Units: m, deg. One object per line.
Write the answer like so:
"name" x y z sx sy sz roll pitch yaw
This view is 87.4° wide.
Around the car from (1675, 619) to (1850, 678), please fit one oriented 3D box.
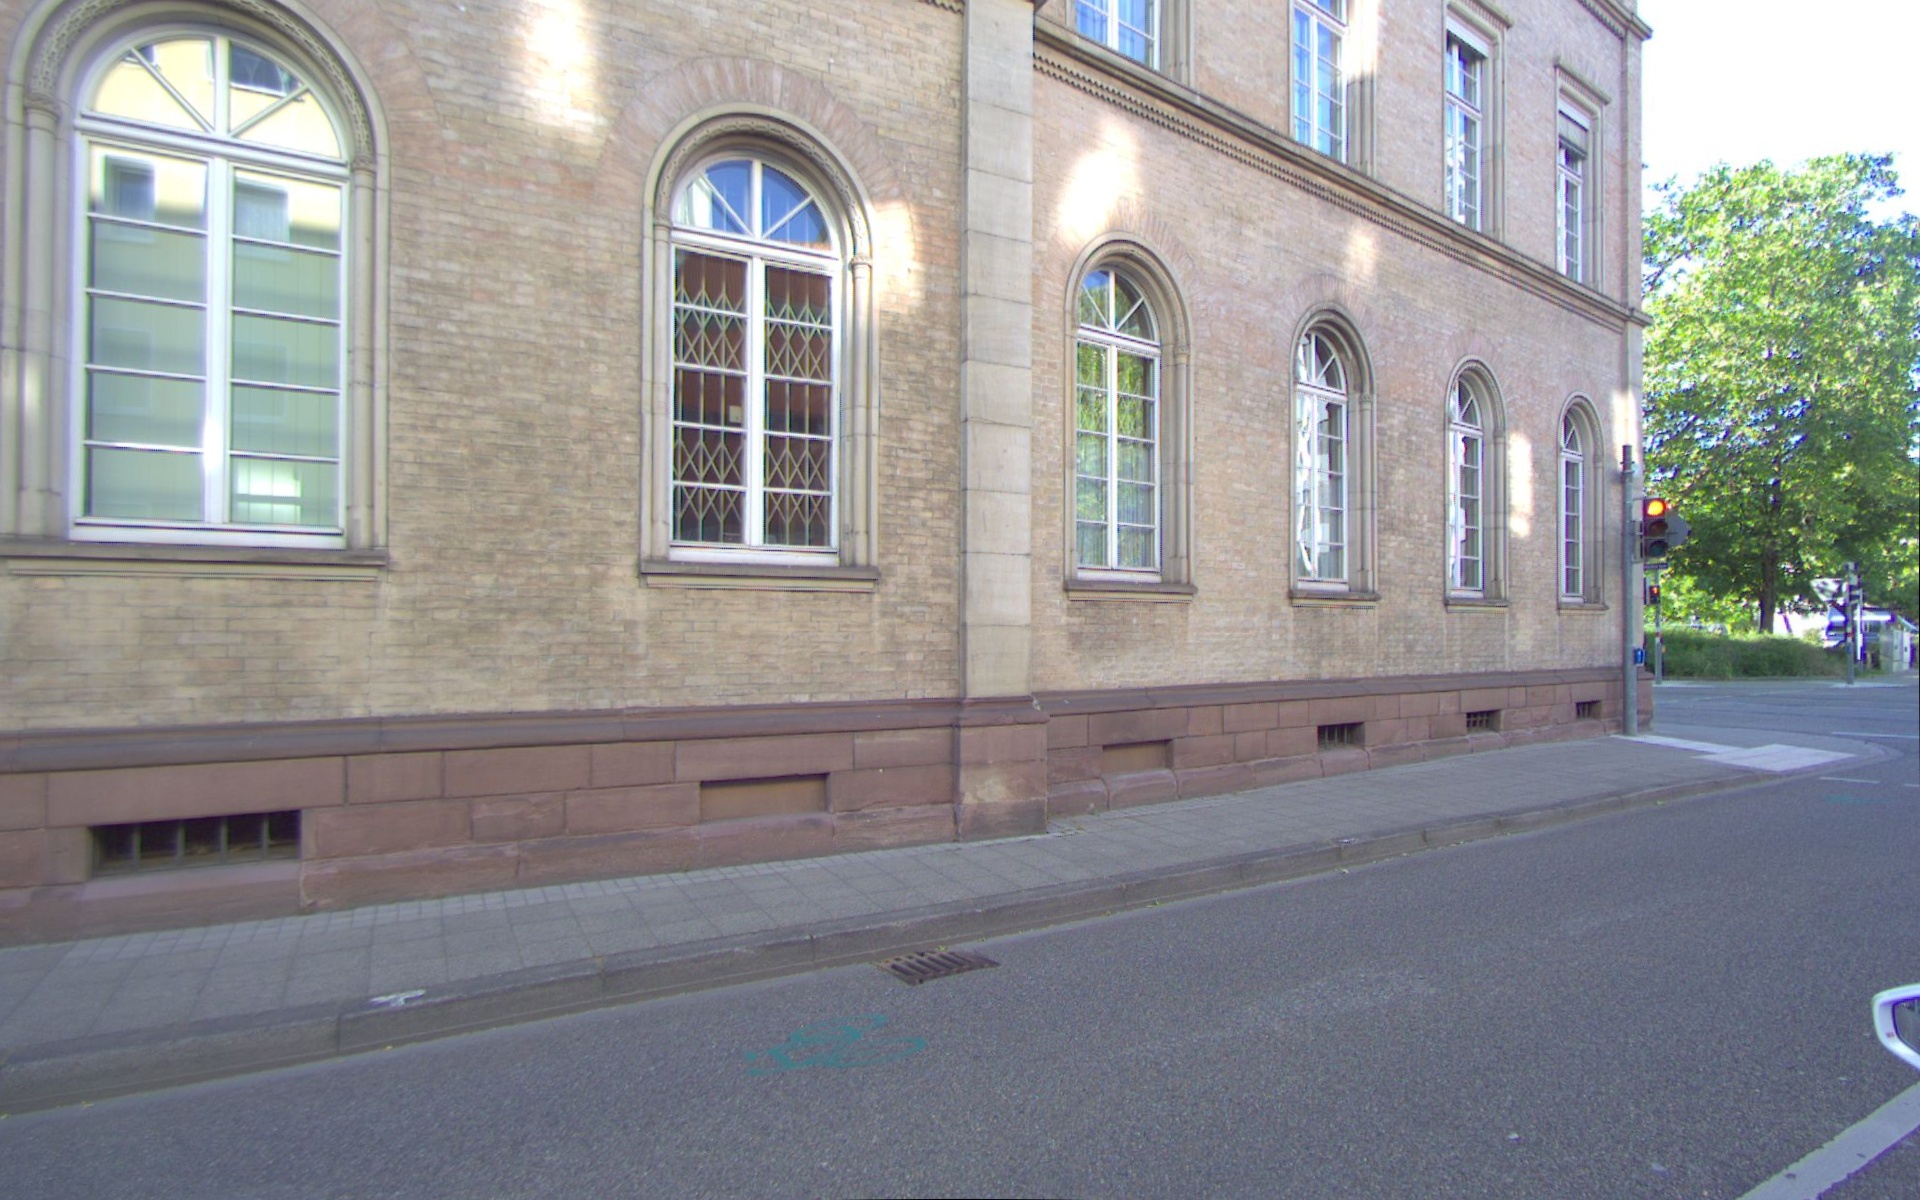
"car" 26.346 1.548 33.114 1.888 1.801 4.193 1 -2 -37
